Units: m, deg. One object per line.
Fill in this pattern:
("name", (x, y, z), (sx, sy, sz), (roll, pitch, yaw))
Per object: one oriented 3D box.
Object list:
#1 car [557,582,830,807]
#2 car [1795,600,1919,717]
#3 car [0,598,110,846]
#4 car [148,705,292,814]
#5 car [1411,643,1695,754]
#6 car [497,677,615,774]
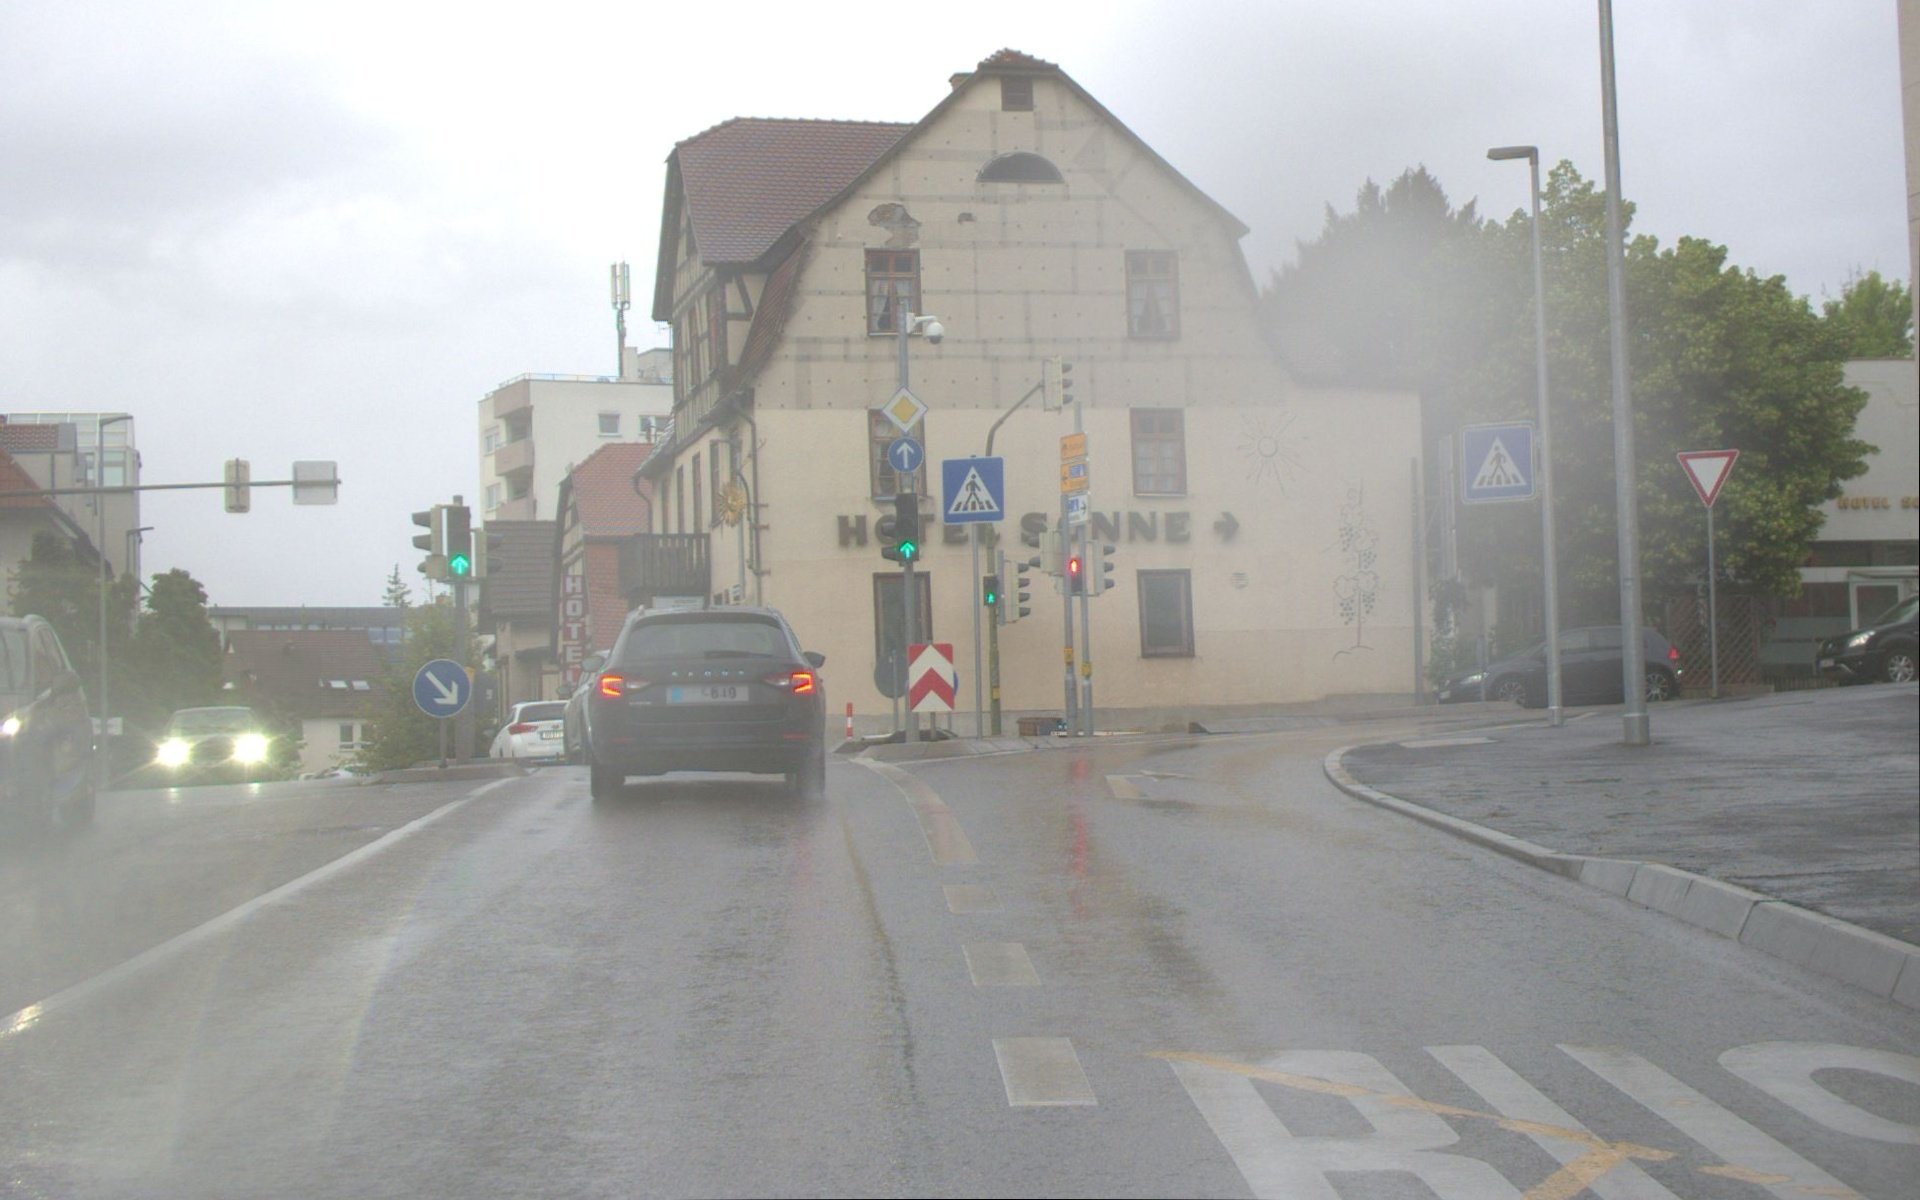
("car", (-2.045, 0.673, 27.264), (1.944, 1.561, 4.418), (-1, 1, -3))
("car", (17.110, 0.947, 60.315), (4.301, 1.810, 1.778), (-4, -5, -14))
("car", (-7.299, 0.831, 24.785), (1.781, 1.624, 4.217), (-2, 0, -8))
("car", (-11.644, 2.488, 54.318), (1.886, 1.462, 4.001), (-3, 0, -8))
("car", (10.094, 1.686, 58.587), (4.301, 1.500, 1.778), (-3, -5, -16))
("car", (-7.107, 2.168, 60.234), (1.886, 1.462, 4.001), (-3, 0, -8))
